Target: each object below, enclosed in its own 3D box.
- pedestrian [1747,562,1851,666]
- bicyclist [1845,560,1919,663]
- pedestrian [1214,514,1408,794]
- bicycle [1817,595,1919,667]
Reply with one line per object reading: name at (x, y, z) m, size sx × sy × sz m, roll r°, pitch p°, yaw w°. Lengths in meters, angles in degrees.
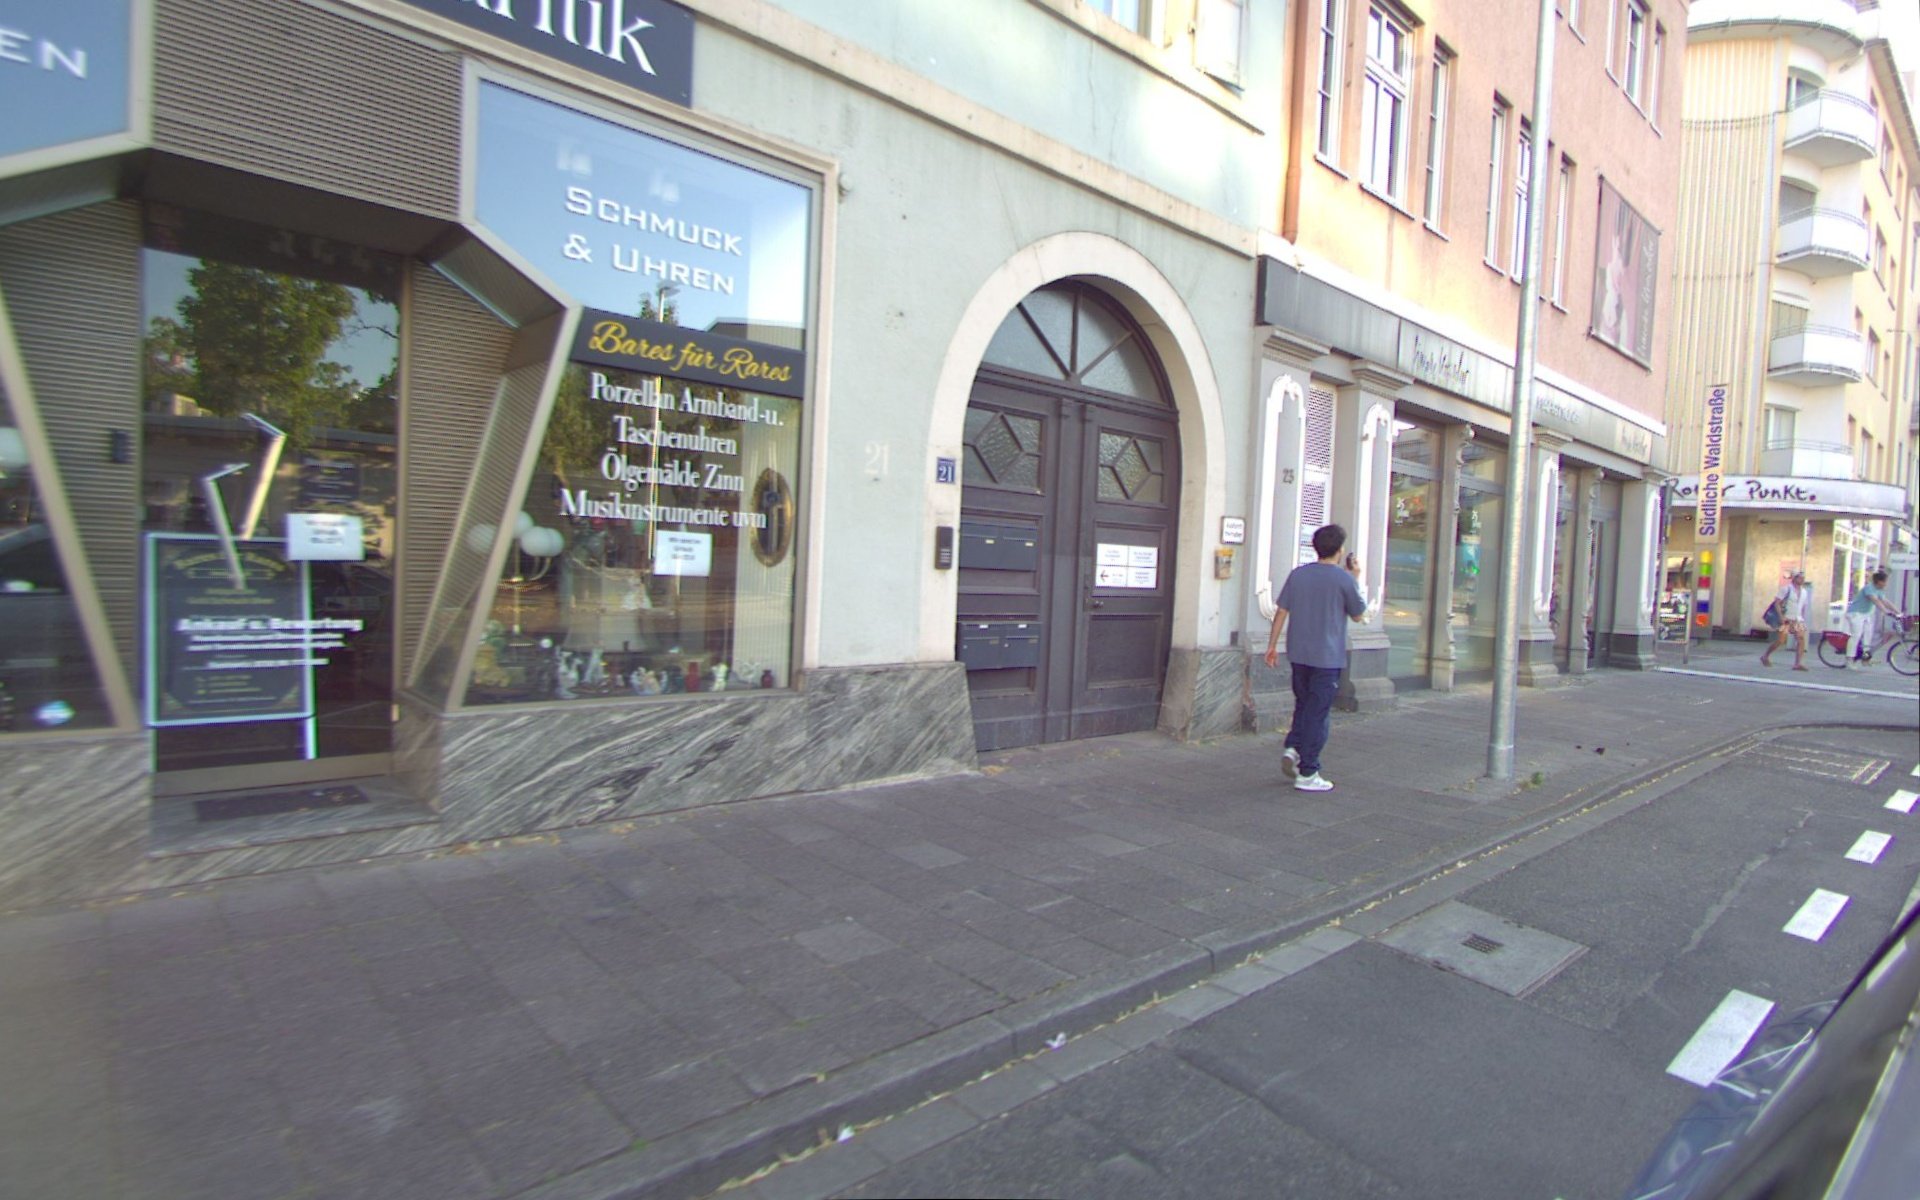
pedestrian at (15.139, 0.226, 18.292) m, size 0.809 × 1.796 × 1.102 m, roll 2°, pitch 2°, yaw -5°
bicyclist at (17.298, 0.207, 18.946) m, size 0.815 × 1.848 × 0.837 m, roll 1°, pitch 2°, yaw -34°
pedestrian at (2.283, 0.297, 6.591) m, size 0.857 × 1.662 × 0.824 m, roll 1°, pitch 3°, yaw -44°
bicycle at (17.322, 0.569, 18.879) m, size 0.778 × 1.200 × 1.828 m, roll 1°, pitch 3°, yaw -32°
